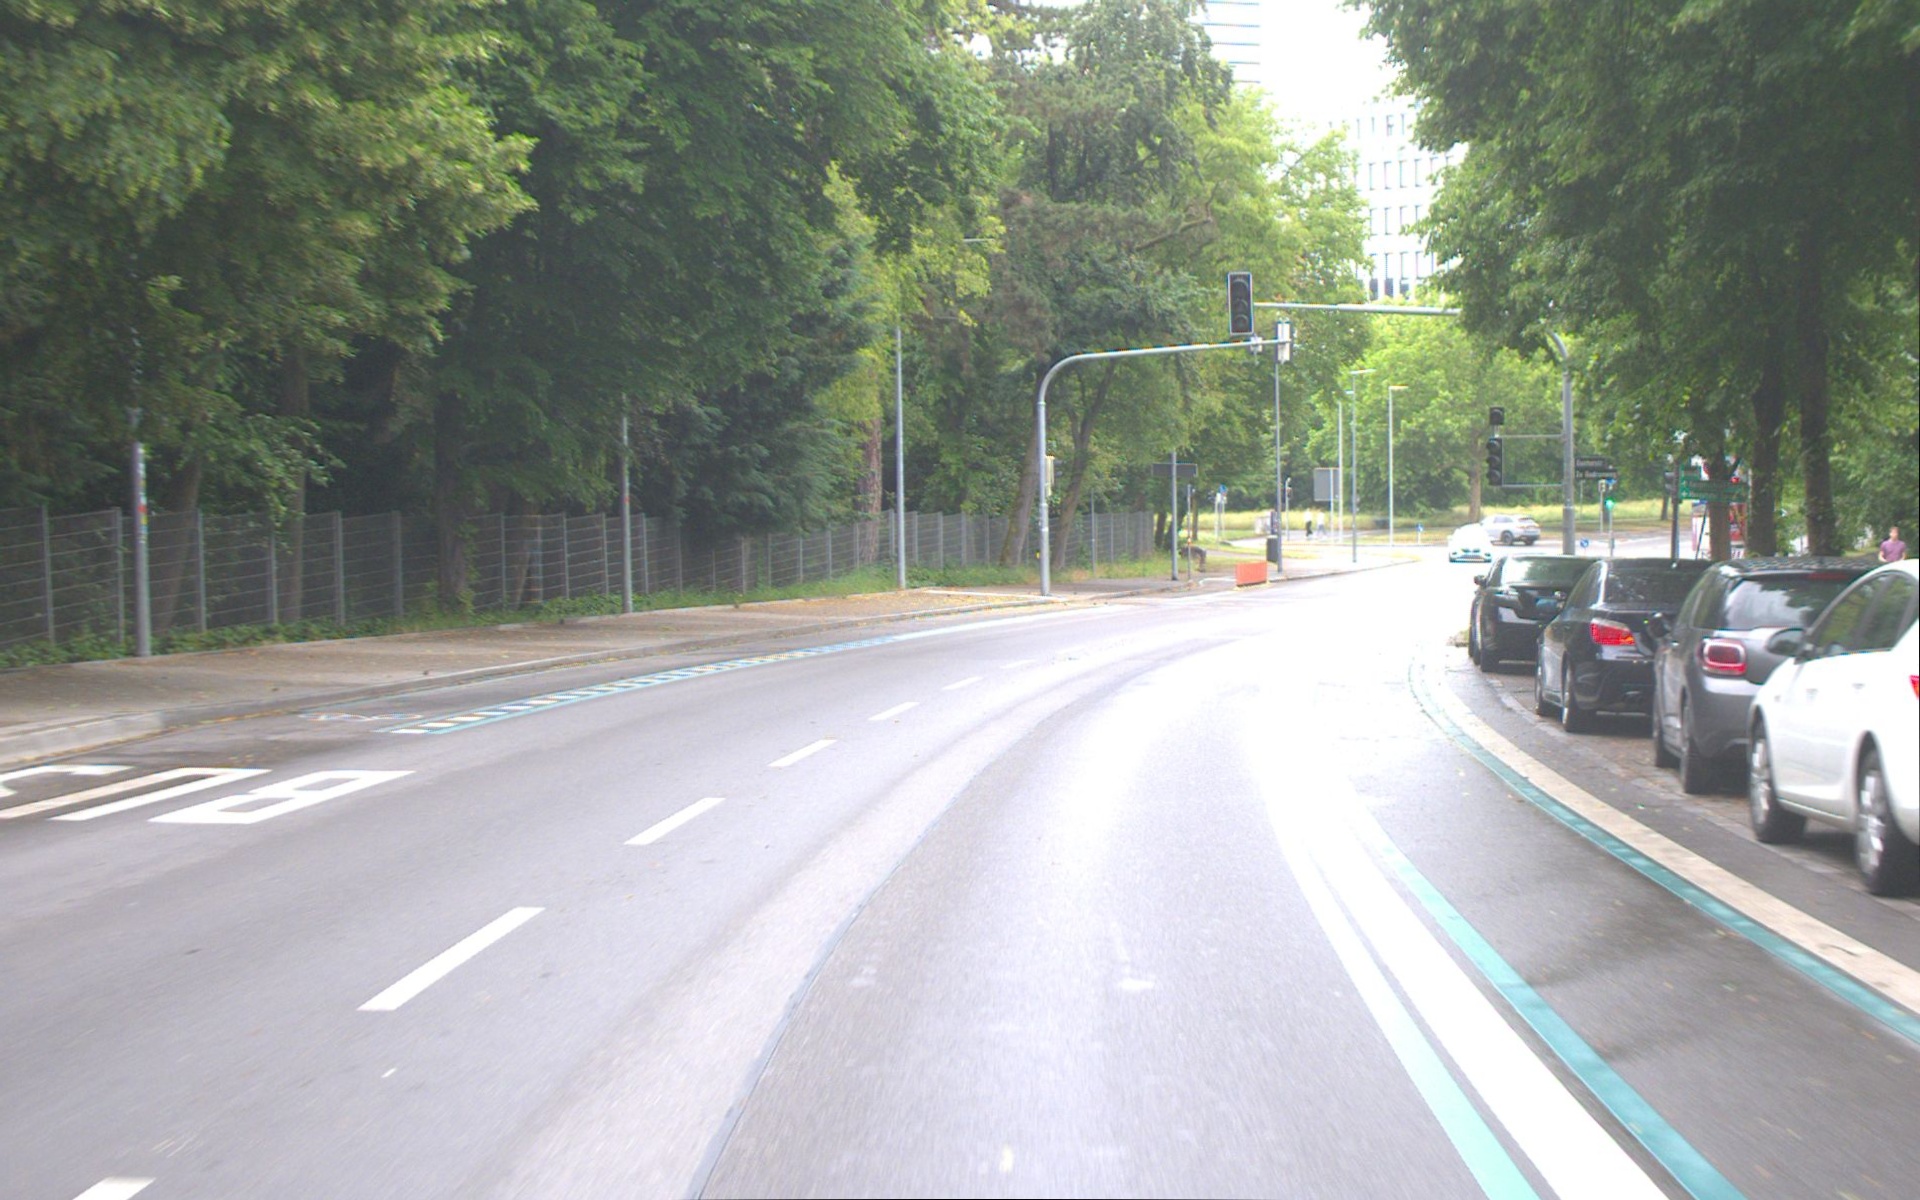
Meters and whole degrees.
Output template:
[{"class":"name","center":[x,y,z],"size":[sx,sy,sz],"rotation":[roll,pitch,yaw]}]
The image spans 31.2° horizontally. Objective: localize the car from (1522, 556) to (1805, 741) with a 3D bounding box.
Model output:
[{"class":"car","center":[5.924,0.349,29.441],"size":[1.782,1.403,4.845],"rotation":[1,1,5]}]

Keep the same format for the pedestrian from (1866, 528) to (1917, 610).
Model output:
[{"class":"pedestrian","center":[19.857,-0.667,73.307],"size":[0.887,1.727,1.146],"rotation":[1,1,8]}]

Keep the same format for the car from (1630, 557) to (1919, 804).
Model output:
[{"class":"car","center":[5.412,0.453,22.493],"size":[1.684,1.423,4.317],"rotation":[2,1,7]}]

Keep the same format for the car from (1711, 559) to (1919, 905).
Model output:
[{"class":"car","center":[4.898,0.538,16.468],"size":[1.860,1.423,4.649],"rotation":[1,1,4]}]

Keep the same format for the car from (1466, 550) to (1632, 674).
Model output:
[{"class":"car","center":[7.345,0.116,43.253],"size":[1.699,1.415,4.762],"rotation":[2,1,6]}]

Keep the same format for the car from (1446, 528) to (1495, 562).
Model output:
[{"class":"car","center":[23.406,-2.518,157.474],"size":[1.844,1.452,4.497],"rotation":[1,2,13]}]
